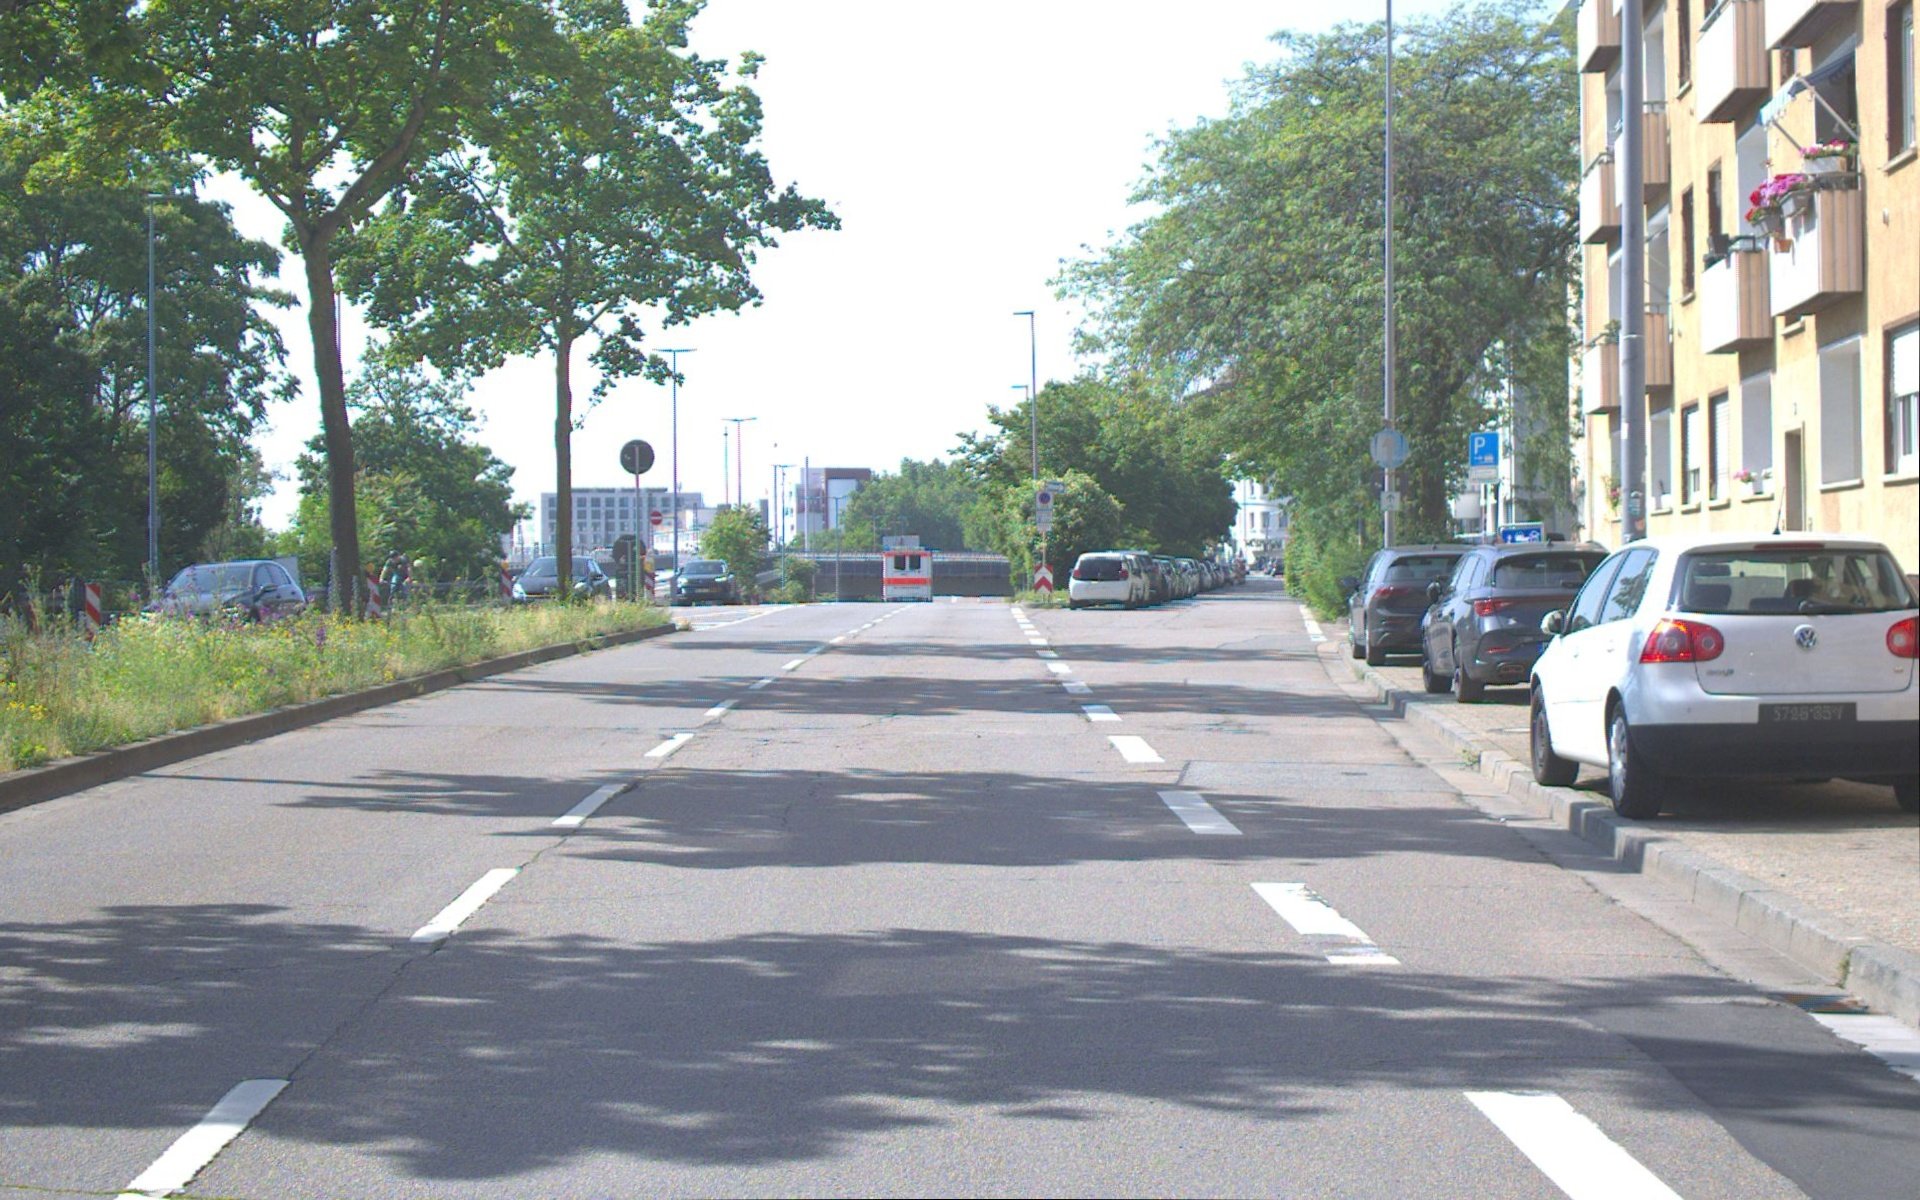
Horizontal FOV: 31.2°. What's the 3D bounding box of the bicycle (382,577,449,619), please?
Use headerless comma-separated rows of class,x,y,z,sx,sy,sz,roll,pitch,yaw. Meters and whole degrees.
bicycle,-12.400,-0.045,78.313,0.693,0.902,2.341,-1,1,12

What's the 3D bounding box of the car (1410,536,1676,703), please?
car,5.410,0.130,32.430,1.800,1.433,4.590,-1,1,1

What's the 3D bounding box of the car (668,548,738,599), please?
car,-9.047,-0.951,121.326,1.993,1.728,4.730,0,1,1

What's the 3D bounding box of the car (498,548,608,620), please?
car,-8.788,-0.371,74.543,1.763,1.469,4.085,-1,1,2

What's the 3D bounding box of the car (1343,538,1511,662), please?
car,5.868,-0.037,43.605,1.711,1.457,4.256,-1,1,2

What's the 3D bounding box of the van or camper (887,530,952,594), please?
van or camper,-1.772,-1.695,152.503,2.297,2.780,5.570,0,1,5

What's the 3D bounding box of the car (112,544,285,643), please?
car,-12.133,-0.130,54.988,1.798,1.525,4.000,0,1,1

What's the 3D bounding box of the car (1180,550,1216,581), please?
car,12.122,-1.767,174.803,1.664,1.504,4.007,2,1,6

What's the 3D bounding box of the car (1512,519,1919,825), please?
car,4.270,0.315,19.298,1.756,1.500,4.128,-1,1,2

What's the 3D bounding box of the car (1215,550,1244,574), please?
car,18.626,-2.597,237.347,1.994,1.651,3.999,0,1,5

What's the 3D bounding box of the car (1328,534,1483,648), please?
car,6.242,-0.157,48.549,1.703,1.509,4.092,-1,1,1

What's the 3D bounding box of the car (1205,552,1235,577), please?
car,17.223,-2.342,227.642,1.994,1.651,3.999,0,1,5

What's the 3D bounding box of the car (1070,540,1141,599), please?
car,3.848,-0.813,90.335,1.620,1.500,3.461,-1,1,6

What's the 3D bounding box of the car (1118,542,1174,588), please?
car,6.278,-1.202,115.996,1.664,1.468,3.788,2,1,6

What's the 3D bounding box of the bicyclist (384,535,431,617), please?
bicyclist,-12.554,-0.552,78.201,0.697,1.825,1.016,-1,1,12

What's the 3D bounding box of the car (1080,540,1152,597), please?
car,4.338,-0.892,94.910,1.721,1.500,4.131,-1,1,6

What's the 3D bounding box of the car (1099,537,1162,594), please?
car,4.965,-1.022,100.206,1.772,1.574,4.186,-1,1,3

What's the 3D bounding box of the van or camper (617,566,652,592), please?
van or camper,-17.139,-1.105,181.119,1.467,1.345,4.631,0,1,0
